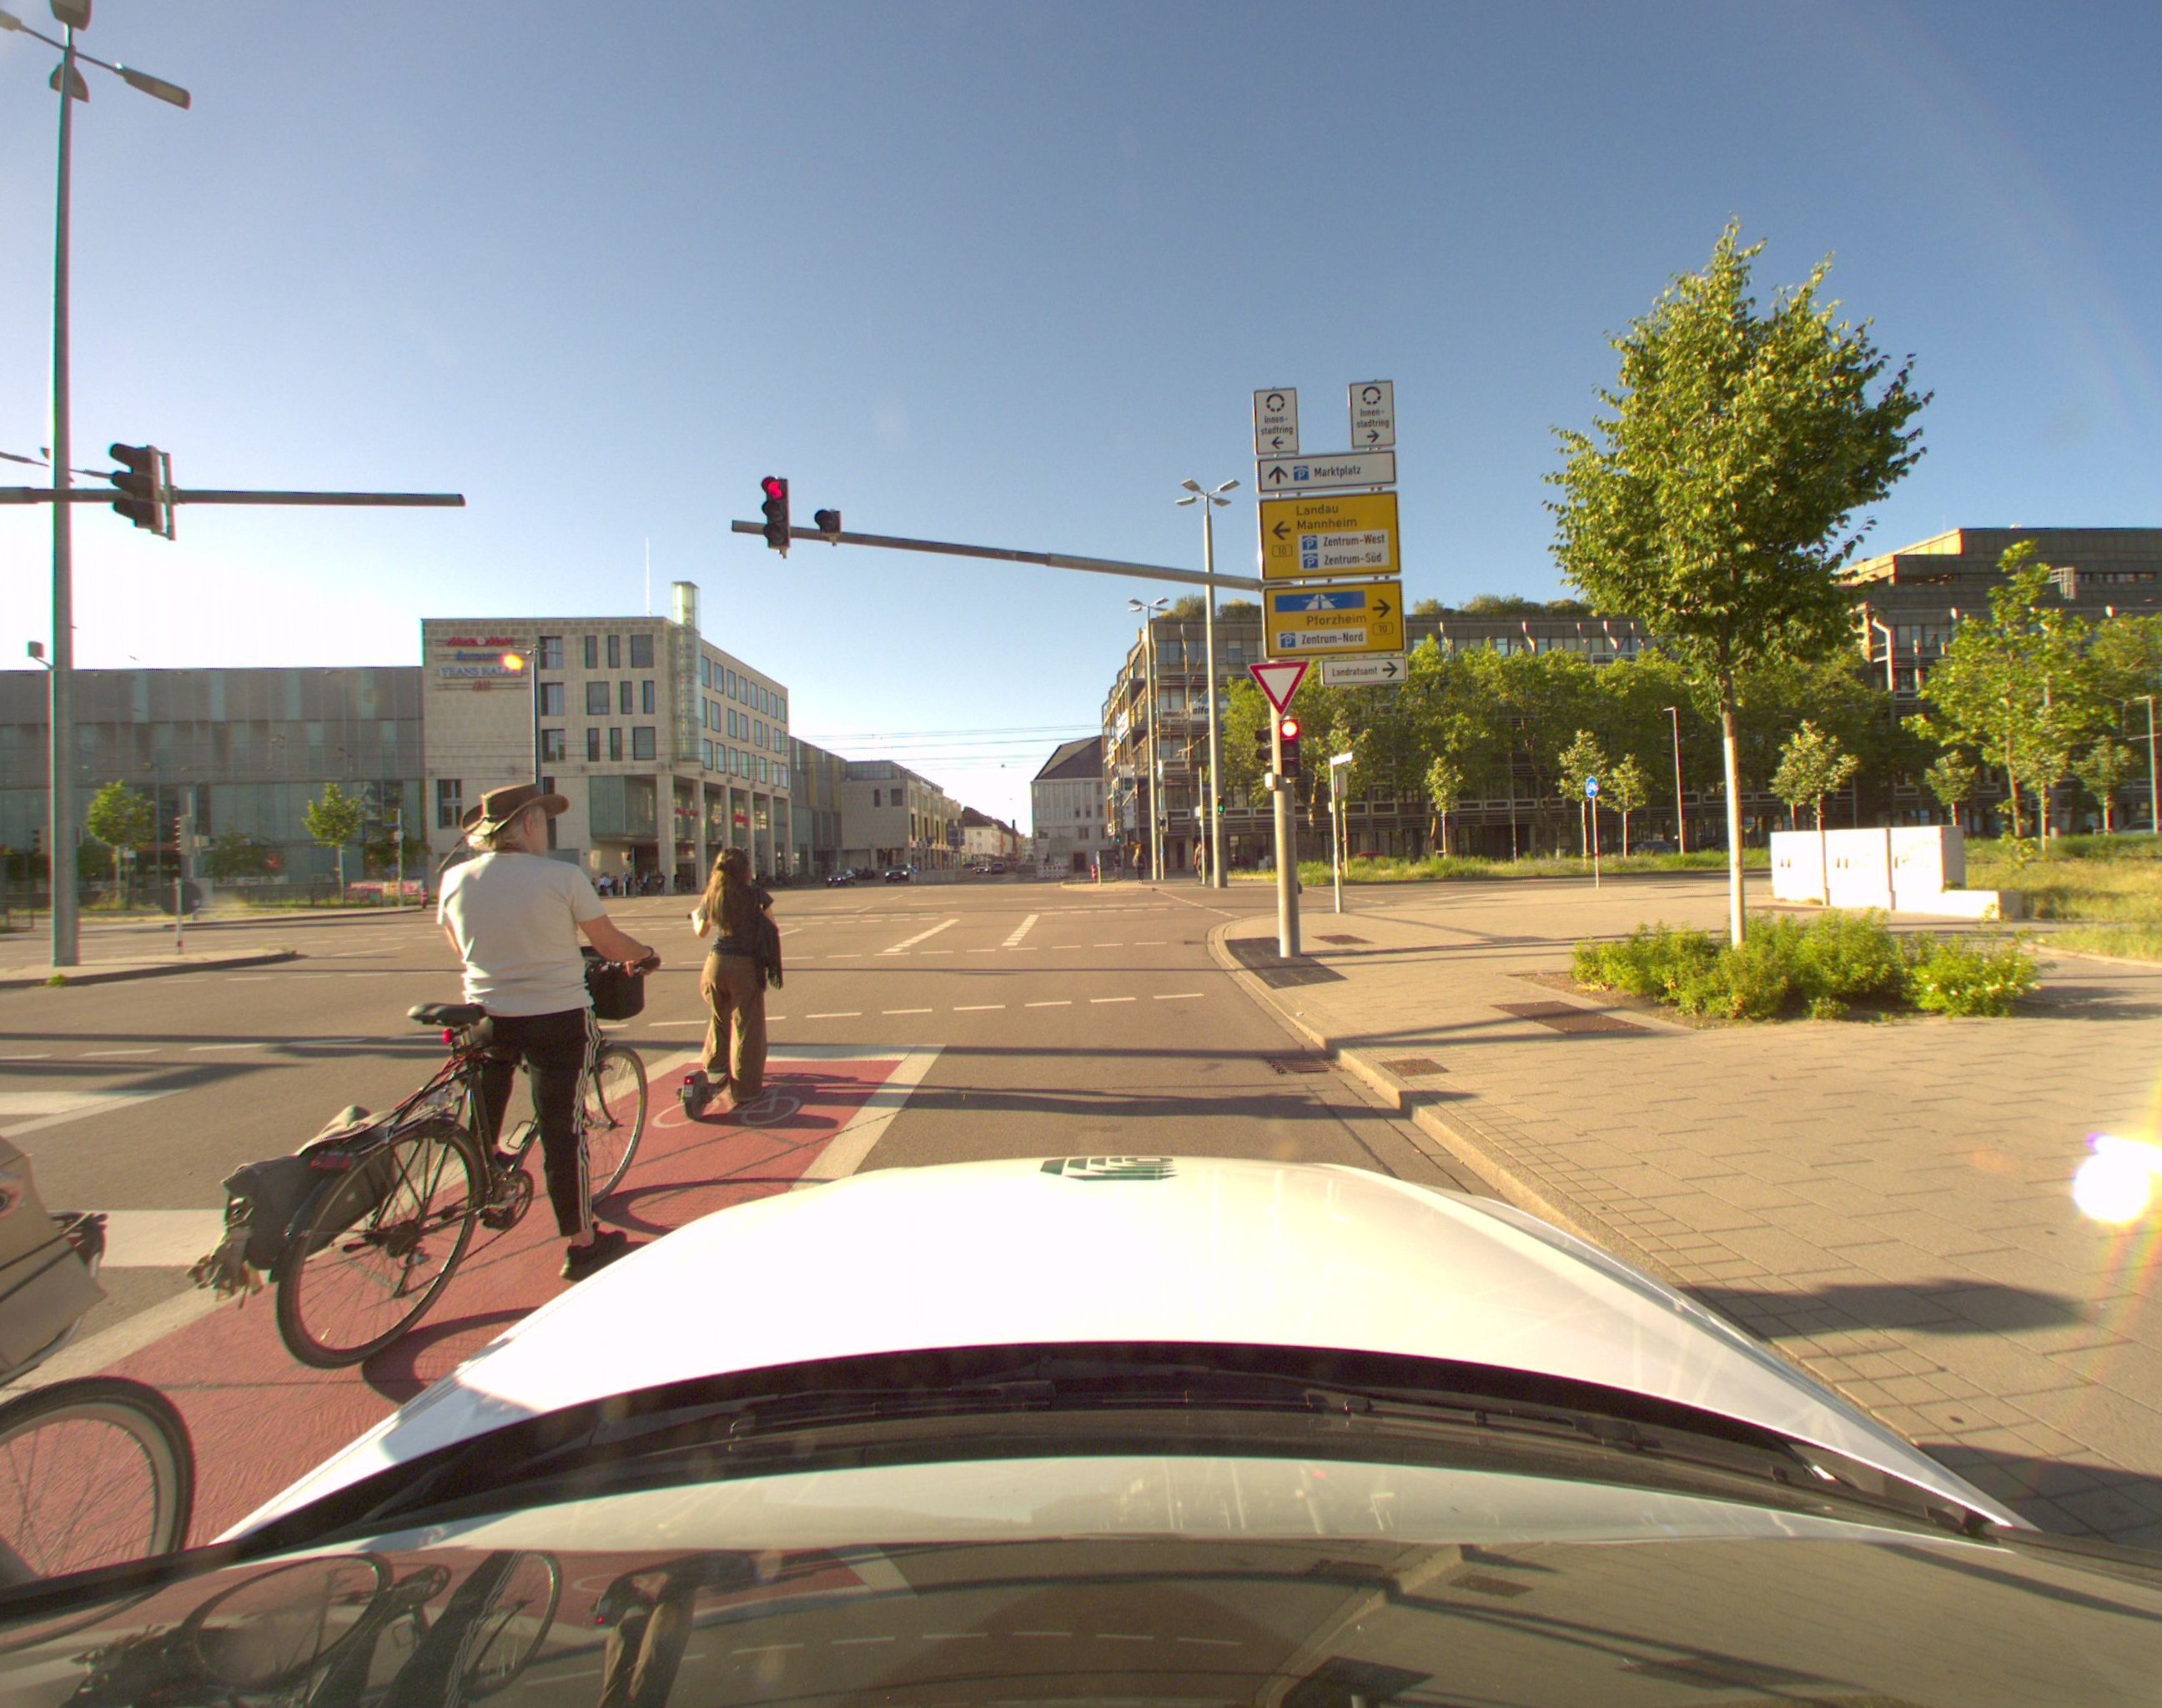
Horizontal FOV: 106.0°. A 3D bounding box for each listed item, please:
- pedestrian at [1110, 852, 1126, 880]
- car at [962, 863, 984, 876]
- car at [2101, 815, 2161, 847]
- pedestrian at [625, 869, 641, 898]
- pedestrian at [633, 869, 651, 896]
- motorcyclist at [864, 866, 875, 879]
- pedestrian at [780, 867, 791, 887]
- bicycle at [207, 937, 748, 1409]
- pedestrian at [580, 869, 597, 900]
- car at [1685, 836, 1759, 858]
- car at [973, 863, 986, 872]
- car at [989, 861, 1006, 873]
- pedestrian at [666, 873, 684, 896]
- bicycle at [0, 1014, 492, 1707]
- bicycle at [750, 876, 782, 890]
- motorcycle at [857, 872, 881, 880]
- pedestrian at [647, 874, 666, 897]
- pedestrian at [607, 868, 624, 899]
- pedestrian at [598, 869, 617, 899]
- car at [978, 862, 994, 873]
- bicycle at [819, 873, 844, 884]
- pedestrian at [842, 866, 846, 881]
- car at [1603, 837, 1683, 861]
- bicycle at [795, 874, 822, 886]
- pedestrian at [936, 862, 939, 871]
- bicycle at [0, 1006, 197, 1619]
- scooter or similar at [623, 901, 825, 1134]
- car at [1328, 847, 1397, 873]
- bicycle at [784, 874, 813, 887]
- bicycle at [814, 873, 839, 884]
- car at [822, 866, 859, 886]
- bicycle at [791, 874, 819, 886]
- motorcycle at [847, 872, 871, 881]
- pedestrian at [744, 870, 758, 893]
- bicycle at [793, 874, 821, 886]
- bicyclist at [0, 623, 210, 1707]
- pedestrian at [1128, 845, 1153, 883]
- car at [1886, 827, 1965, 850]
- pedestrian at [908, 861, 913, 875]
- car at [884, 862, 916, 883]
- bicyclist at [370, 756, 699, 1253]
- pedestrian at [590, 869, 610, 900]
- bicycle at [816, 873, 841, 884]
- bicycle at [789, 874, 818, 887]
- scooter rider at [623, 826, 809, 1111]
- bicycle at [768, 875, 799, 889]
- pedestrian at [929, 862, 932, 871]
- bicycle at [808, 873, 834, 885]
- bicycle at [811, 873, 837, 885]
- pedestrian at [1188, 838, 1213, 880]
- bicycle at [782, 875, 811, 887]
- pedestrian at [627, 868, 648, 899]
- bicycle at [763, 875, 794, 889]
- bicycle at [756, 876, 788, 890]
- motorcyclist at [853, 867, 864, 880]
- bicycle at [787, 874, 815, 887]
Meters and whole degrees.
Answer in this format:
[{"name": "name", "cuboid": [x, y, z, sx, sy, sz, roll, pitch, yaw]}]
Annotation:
[{"name": "pedestrian", "cuboid": [2.607, 0.804, 56.646, 1.007, 1.911, 1.052, -2, 0, 5]}, {"name": "car", "cuboid": [-15.491, 2.191, 116.899, 2.166, 1.692, 5.488, -2, -1, 1]}, {"name": "car", "cuboid": [73.306, -1.620, 55.255, 5.680, 2.014, 2.262, -2, -2, -5]}, {"name": "pedestrian", "cuboid": [-32.590, 2.123, 59.249, 0.919, 2.014, 1.014, -1, -1, -29]}, {"name": "pedestrian", "cuboid": [-33.611, 2.168, 62.399, 0.914, 2.014, 1.020, -2, -1, -10]}, {"name": "motorcyclist", "cuboid": [-25.608, 2.259, 98.618, 1.135, 1.575, 0.914, 0, -1, -5]}, {"name": "pedestrian", "cuboid": [-30.377, 2.342, 83.625, 0.949, 1.982, 1.000, -1, -1, -23]}, {"name": "bicycle", "cuboid": [-2.032, 0.968, 3.144, 0.704, 1.094, 1.800, -2, 0, 0]}, {"name": "pedestrian", "cuboid": [-35.274, 2.172, 58.342, 0.900, 2.124, 0.939, -1, -1, -25]}, {"name": "car", "cuboid": [47.922, -0.516, 60.964, 3.976, 1.521, 1.999, -2, 0, -2]}, {"name": "car", "cuboid": [-21.594, 2.801, 173.341, 2.168, 1.873, 5.610, -2, -1, -2]}, {"name": "car", "cuboid": [-11.126, 1.770, 108.773, 1.931, 1.450, 4.259, -2, -1, -2]}, {"name": "pedestrian", "cuboid": [-29.207, 2.205, 58.561, 0.951, 1.571, 0.831, -1, -1, -43]}, {"name": "bicycle", "cuboid": [-1.684, 0.919, 0.939, 0.648, 1.094, 1.800, -2, 0, 1]}, {"name": "bicycle", "cuboid": [-26.837, 2.486, 69.370, 2.394, 1.113, 0.658, -2, 0, 1]}, {"name": "motorcycle", "cuboid": [-25.629, 2.686, 98.598, 2.664, 0.996, 0.914, 0, -1, -6]}, {"name": "pedestrian", "cuboid": [-31.031, 2.284, 59.507, 1.013, 1.651, 0.937, -1, -1, -39]}, {"name": "pedestrian", "cuboid": [-32.617, 2.026, 57.009, 0.902, 2.124, 0.936, -1, -1, -35]}, {"name": "pedestrian", "cuboid": [-34.126, 2.165, 58.689, 0.897, 2.124, 0.942, -2, -1, -15]}, {"name": "car", "cuboid": [-16.316, 2.332, 139.797, 2.167, 1.692, 5.613, -2, -1, -1]}, {"name": "bicycle", "cuboid": [-26.961, 2.622, 88.094, 2.458, 1.111, 0.661, -2, 0, 2]}, {"name": "pedestrian", "cuboid": [-33.258, 2.718, 114.284, 0.616, 2.014, 0.476, 0, -1, -13]}, {"name": "car", "cuboid": [41.774, -0.389, 60.618, 4.848, 1.680, 1.995, -1, 1, -7]}, {"name": "bicycle", "cuboid": [-27.199, 2.571, 81.287, 2.458, 1.111, 0.835, -2, 0, 2]}, {"name": "pedestrian", "cuboid": [-22.595, 2.002, 128.042, 0.487, 1.356, 0.563, 0, -1, -4]}, {"name": "bicycle", "cuboid": [-2.424, 0.927, 1.011, 0.621, 1.116, 1.816, -2, 0, 1]}, {"name": "scooter or similar", "cuboid": [-2.180, 0.934, 5.185, 0.640, 1.175, 1.483, -1, 0, -1]}, {"name": "car", "cuboid": [18.703, 0.407, 54.243, 3.862, 1.486, 1.842, -2, -3, -6]}, {"name": "bicycle", "cuboid": [-26.649, 2.531, 76.819, 2.458, 1.111, 0.538, -2, 0, 2]}, {"name": "bicycle", "cuboid": [-26.926, 2.609, 86.146, 2.458, 1.111, 0.661, -2, 0, 2]}, {"name": "car", "cuboid": [-20.825, 1.889, 70.701, 1.931, 1.581, 4.293, -2, 0, 0]}, {"name": "bicycle", "cuboid": [-27.144, 2.561, 80.034, 2.458, 1.111, 0.684, -2, 0, 2]}, {"name": "motorcycle", "cuboid": [-25.922, 2.660, 95.154, 2.664, 0.996, 0.914, 0, -1, -6]}, {"name": "pedestrian", "cuboid": [-25.444, 2.100, 62.745, 0.748, 1.740, 0.756, -2, -1, -1]}, {"name": "bicycle", "cuboid": [-26.595, 2.541, 79.081, 2.458, 1.111, 0.835, -2, 0, 2]}, {"name": "bicyclist", "cuboid": [-1.695, 0.484, 0.833, 0.648, 1.543, 0.847, -2, 0, 1]}, {"name": "pedestrian", "cuboid": [2.549, 0.426, 35.161, 0.894, 1.549, 0.922, -2, 1, -5]}, {"name": "car", "cuboid": [64.807, -1.150, 62.537, 4.255, 1.596, 1.864, -2, -1, -4]}, {"name": "pedestrian", "cuboid": [-24.539, 2.010, 117.340, 0.616, 2.014, 0.476, 0, -1, -13]}, {"name": "car", "cuboid": [-15.741, 1.567, 70.873, 1.933, 1.677, 4.290, -2, -1, -3]}, {"name": "bicyclist", "cuboid": [-2.052, 0.511, 3.173, 0.697, 1.669, 0.786, -2, 0, 0]}, {"name": "pedestrian", "cuboid": [-33.958, 2.138, 57.510, 0.897, 2.124, 0.942, -2, -1, -15]}, {"name": "bicycle", "cuboid": [-26.894, 2.621, 86.865, 2.458, 1.111, 0.631, -2, 0, 2]}, {"name": "bicycle", "cuboid": [-26.660, 2.537, 78.243, 2.458, 1.111, 0.684, -2, 0, 2]}, {"name": "scooter rider", "cuboid": [-2.178, 0.625, 5.008, 0.640, 1.544, 1.116, -1, 0, -1]}, {"name": "bicycle", "cuboid": [-26.615, 2.483, 72.888, 2.458, 1.111, 0.684, -2, 0, 2]}, {"name": "pedestrian", "cuboid": [-23.892, 2.021, 129.271, 0.487, 1.356, 0.563, 0, -1, -4]}, {"name": "bicycle", "cuboid": [-27.000, 2.602, 84.627, 2.458, 1.111, 0.835, -2, 0, 2]}, {"name": "bicycle", "cuboid": [-26.970, 2.598, 85.438, 2.458, 1.111, 0.661, -2, 0, 2]}, {"name": "pedestrian", "cuboid": [5.084, 0.205, 34.746, 0.854, 1.744, 0.737, -2, 0, -7]}, {"name": "bicycle", "cuboid": [-26.650, 2.527, 76.240, 2.458, 1.111, 0.594, -2, 0, 2]}, {"name": "pedestrian", "cuboid": [-31.489, 2.059, 57.825, 1.068, 2.129, 1.085, -1, -1, -39]}, {"name": "bicycle", "cuboid": [-26.734, 2.492, 72.081, 2.457, 1.111, 0.685, -2, 0, 4]}, {"name": "bicycle", "cuboid": [-26.820, 2.499, 70.717, 2.458, 1.111, 0.684, -2, 0, 2]}, {"name": "motorcyclist", "cuboid": [-26.006, 2.262, 95.139, 1.035, 1.471, 0.914, 0, -1, -5]}, {"name": "bicycle", "cuboid": [-26.621, 2.537, 77.466, 2.458, 1.111, 0.684, -2, 0, 2]}]
